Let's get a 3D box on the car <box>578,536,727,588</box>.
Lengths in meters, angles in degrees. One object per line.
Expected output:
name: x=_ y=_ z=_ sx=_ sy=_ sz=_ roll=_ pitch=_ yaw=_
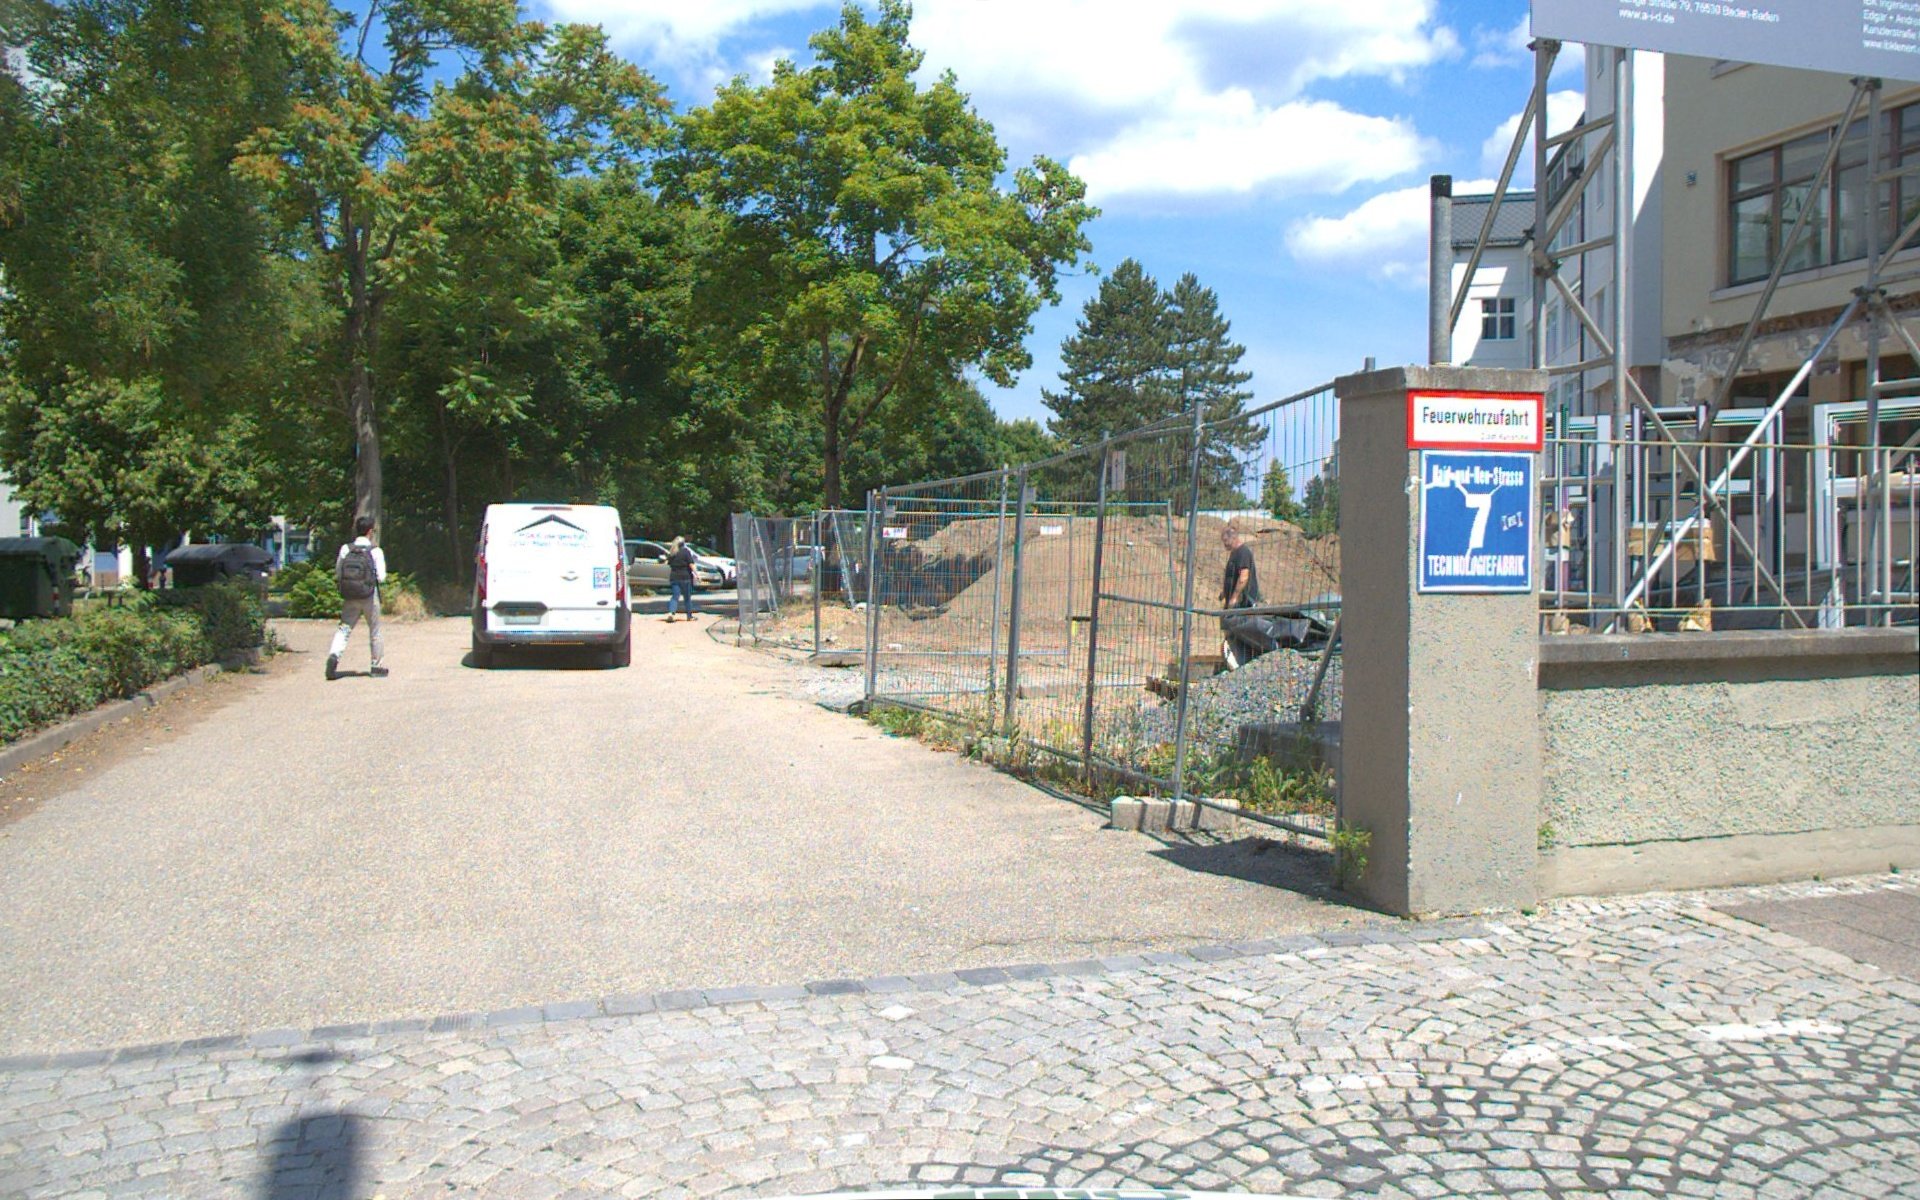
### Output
car: x=-10.107 y=-1.233 z=54.535 sx=4.409 sy=1.637 sz=2.002 roll=0 pitch=0 yaw=11

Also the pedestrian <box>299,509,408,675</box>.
pedestrian: x=-6.630 y=-0.112 z=18.133 sx=0.857 sy=1.759 sz=1.079 roll=-1 pitch=2 yaw=-6

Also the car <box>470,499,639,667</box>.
car: x=-5.398 y=-0.282 z=22.003 sx=1.940 sy=1.980 sz=4.564 roll=-1 pitch=2 yaw=-14

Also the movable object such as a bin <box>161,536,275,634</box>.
movable object such as a bin: x=-11.147 y=-0.237 z=24.859 sx=1.136 sy=1.418 sz=1.113 roll=1 pitch=2 yaw=34

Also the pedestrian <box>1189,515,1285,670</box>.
pedestrian: x=3.387 y=-0.108 z=20.249 sx=0.946 sy=1.851 sz=0.869 roll=-1 pitch=2 yaw=-8

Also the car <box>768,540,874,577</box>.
car: x=-6.273 y=-1.887 z=74.949 sx=4.409 sy=1.625 sz=1.939 roll=0 pitch=2 yaw=11

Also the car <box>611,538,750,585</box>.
car: x=-9.615 y=-1.328 z=57.024 sx=4.409 sy=1.558 sz=1.727 roll=0 pitch=2 yaw=10

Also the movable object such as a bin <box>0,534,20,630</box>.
movable object such as a bin: x=-15.806 y=-0.278 z=26.059 sx=1.328 sy=1.505 sz=1.096 roll=-1 pitch=2 yaw=-3

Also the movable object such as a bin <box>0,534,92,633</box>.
movable object such as a bin: x=-14.529 y=-0.274 z=25.766 sx=1.292 sy=1.505 sz=1.209 roll=0 pitch=2 yaw=8

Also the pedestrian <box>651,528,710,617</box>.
pedestrian: x=-5.348 y=-0.545 z=31.701 sx=1.015 sy=1.678 sz=1.048 roll=-1 pitch=2 yaw=-6

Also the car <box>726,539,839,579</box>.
car: x=-7.436 y=-1.736 z=69.441 sx=4.409 sy=1.625 sz=1.727 roll=0 pitch=2 yaw=10
